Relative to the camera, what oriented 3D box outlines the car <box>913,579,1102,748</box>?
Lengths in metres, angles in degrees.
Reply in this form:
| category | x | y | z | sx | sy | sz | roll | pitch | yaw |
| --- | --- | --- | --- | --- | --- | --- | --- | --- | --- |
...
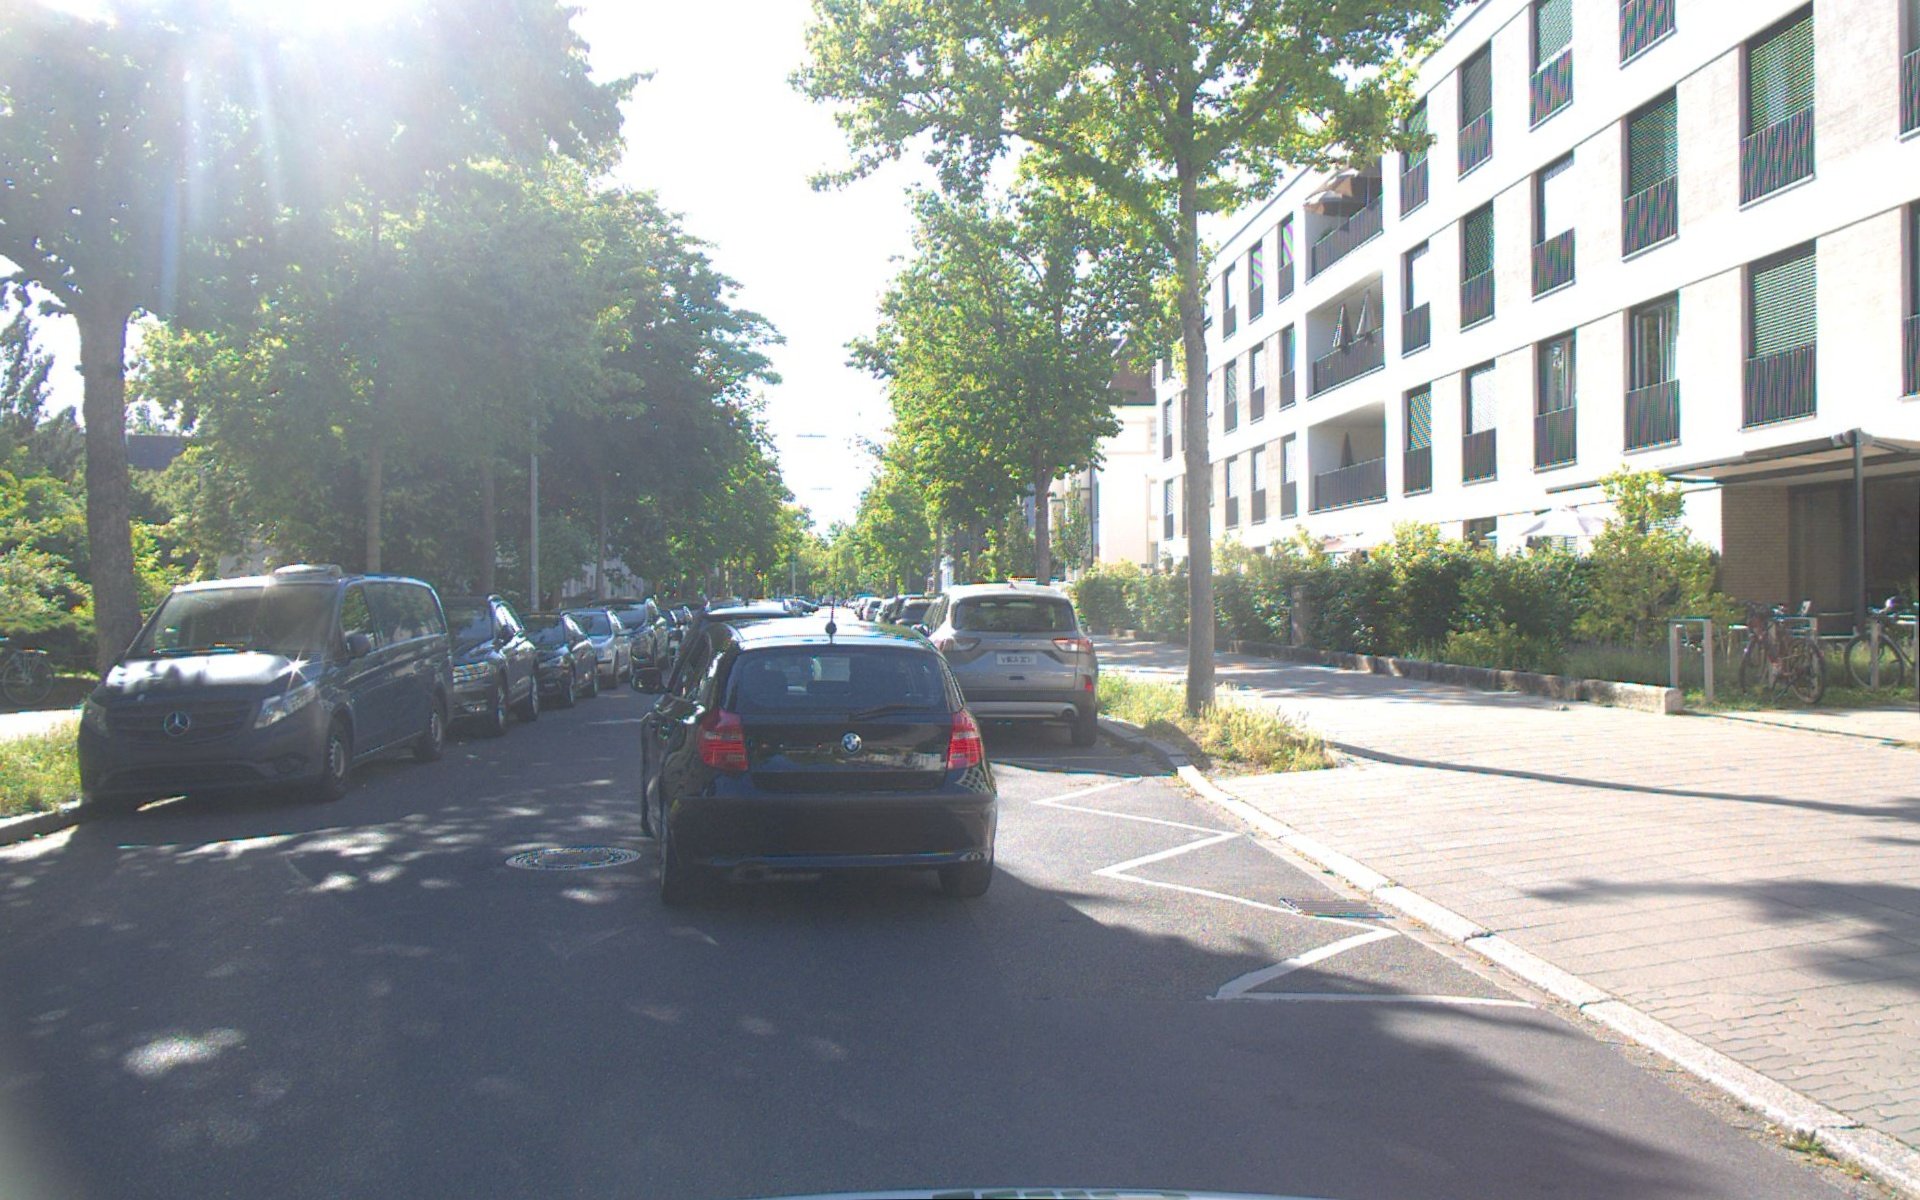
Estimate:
| category | x | y | z | sx | sy | sz | roll | pitch | yaw |
| --- | --- | --- | --- | --- | --- | --- | --- | --- | --- |
| car | 0.407 | 0.642 | 18.543 | 1.811 | 1.659 | 4.408 | 0 | 0 | -3 |

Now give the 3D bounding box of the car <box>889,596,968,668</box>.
| category | x | y | z | sx | sy | sz | roll | pitch | yaw |
| --- | --- | --- | --- | --- | --- | --- | --- | --- | --- |
| car | -0.774 | 0.711 | 38.624 | 1.686 | 1.555 | 3.998 | 1 | 0 | -3 |

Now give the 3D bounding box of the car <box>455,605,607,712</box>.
| category | x | y | z | sx | sy | sz | roll | pitch | yaw |
| --- | --- | --- | --- | --- | --- | --- | --- | --- | --- |
| car | -6.618 | 0.850 | 25.866 | 1.581 | 1.452 | 4.054 | -2 | 0 | -5 |

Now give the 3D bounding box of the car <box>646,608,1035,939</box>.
| category | x | y | z | sx | sy | sz | roll | pitch | yaw |
| --- | --- | --- | --- | --- | --- | --- | --- | --- | --- |
| car | -0.838 | 0.784 | 9.256 | 1.621 | 1.421 | 3.399 | -2 | 0 | -13 |

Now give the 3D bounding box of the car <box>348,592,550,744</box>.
| category | x | y | z | sx | sy | sz | roll | pitch | yaw |
| --- | --- | --- | --- | --- | --- | --- | --- | --- | --- |
| car | -6.221 | 0.756 | 20.577 | 1.581 | 1.639 | 4.224 | -2 | 0 | -6 |

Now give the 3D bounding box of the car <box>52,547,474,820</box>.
| category | x | y | z | sx | sy | sz | roll | pitch | yaw |
| --- | --- | --- | --- | --- | --- | --- | --- | --- | --- |
| car | -5.899 | 0.610 | 14.793 | 1.790 | 1.937 | 5.138 | -2 | 0 | -3 |

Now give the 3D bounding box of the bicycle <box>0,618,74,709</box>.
| category | x | y | z | sx | sy | sz | roll | pitch | yaw |
| --- | --- | --- | --- | --- | --- | --- | --- | --- | --- |
| bicycle | -13.661 | 0.902 | 23.120 | 2.110 | 1.230 | 0.687 | -2 | 0 | -15 |

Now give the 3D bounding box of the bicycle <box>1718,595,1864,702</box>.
| category | x | y | z | sx | sy | sz | roll | pitch | yaw |
| --- | --- | --- | --- | --- | --- | --- | --- | --- | --- |
| bicycle | 8.904 | 0.501 | 17.787 | 0.535 | 1.073 | 1.689 | -2 | 0 | -7 |

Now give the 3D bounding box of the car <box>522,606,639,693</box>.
| category | x | y | z | sx | sy | sz | roll | pitch | yaw |
| --- | --- | --- | --- | --- | --- | --- | --- | --- | --- |
| car | -7.032 | 0.867 | 30.939 | 1.581 | 1.452 | 3.722 | -2 | 0 | -5 |

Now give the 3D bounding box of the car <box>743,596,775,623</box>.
| category | x | y | z | sx | sy | sz | roll | pitch | yaw |
| --- | --- | --- | --- | --- | --- | --- | --- | --- | --- |
| car | -11.214 | 0.533 | 92.508 | 1.581 | 1.416 | 3.862 | -2 | 0 | -5 |

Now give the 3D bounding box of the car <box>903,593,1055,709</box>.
| category | x | y | z | sx | sy | sz | roll | pitch | yaw |
| --- | --- | --- | --- | --- | --- | --- | --- | --- | --- |
| car | 0.193 | 0.681 | 24.232 | 1.662 | 1.550 | 3.993 | 0 | 0 | -8 |

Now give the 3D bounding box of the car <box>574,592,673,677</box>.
| category | x | y | z | sx | sy | sz | roll | pitch | yaw |
| --- | --- | --- | --- | --- | --- | --- | --- | --- | --- |
| car | -7.336 | 0.713 | 36.369 | 1.581 | 1.708 | 4.230 | -2 | 0 | -5 |

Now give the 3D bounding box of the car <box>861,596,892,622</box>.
| category | x | y | z | sx | sy | sz | roll | pitch | yaw |
| --- | --- | --- | --- | --- | --- | --- | --- | --- | --- |
| car | -5.033 | 0.523 | 99.636 | 1.686 | 1.506 | 3.850 | -2 | 0 | -1 |

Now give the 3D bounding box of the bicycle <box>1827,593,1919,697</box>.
| category | x | y | z | sx | sy | sz | roll | pitch | yaw |
| --- | --- | --- | --- | --- | --- | --- | --- | --- | --- |
| bicycle | 10.233 | 0.469 | 17.931 | 0.535 | 1.073 | 1.777 | -2 | 0 | -7 |

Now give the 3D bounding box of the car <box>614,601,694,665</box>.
| category | x | y | z | sx | sy | sz | roll | pitch | yaw |
| --- | --- | --- | --- | --- | --- | --- | --- | --- | --- |
| car | -7.726 | 0.809 | 42.054 | 1.581 | 1.478 | 3.862 | -2 | 0 | -5 |

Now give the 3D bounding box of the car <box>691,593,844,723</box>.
| category | x | y | z | sx | sy | sz | roll | pitch | yaw |
| --- | --- | --- | --- | --- | --- | --- | --- | --- | --- |
| car | -2.363 | 0.665 | 21.081 | 1.616 | 1.450 | 3.999 | -1 | 0 | -3 |

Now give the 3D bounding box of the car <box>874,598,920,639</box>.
| category | x | y | z | sx | sy | sz | roll | pitch | yaw |
| --- | --- | --- | --- | --- | --- | --- | --- | --- | --- |
| car | -2.487 | 0.687 | 64.461 | 1.686 | 1.506 | 3.849 | 1 | 0 | -3 |

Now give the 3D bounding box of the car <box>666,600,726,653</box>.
| category | x | y | z | sx | sy | sz | roll | pitch | yaw |
| --- | --- | --- | --- | --- | --- | --- | --- | --- | --- |
| car | -8.499 | 0.820 | 53.542 | 1.581 | 1.570 | 3.862 | -2 | 0 | -5 |

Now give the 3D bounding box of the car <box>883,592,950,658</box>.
| category | x | y | z | sx | sy | sz | roll | pitch | yaw |
| --- | --- | --- | --- | --- | --- | --- | --- | --- | --- |
| car | -1.221 | 0.650 | 44.611 | 1.686 | 1.669 | 3.848 | 1 | 0 | -3 |
